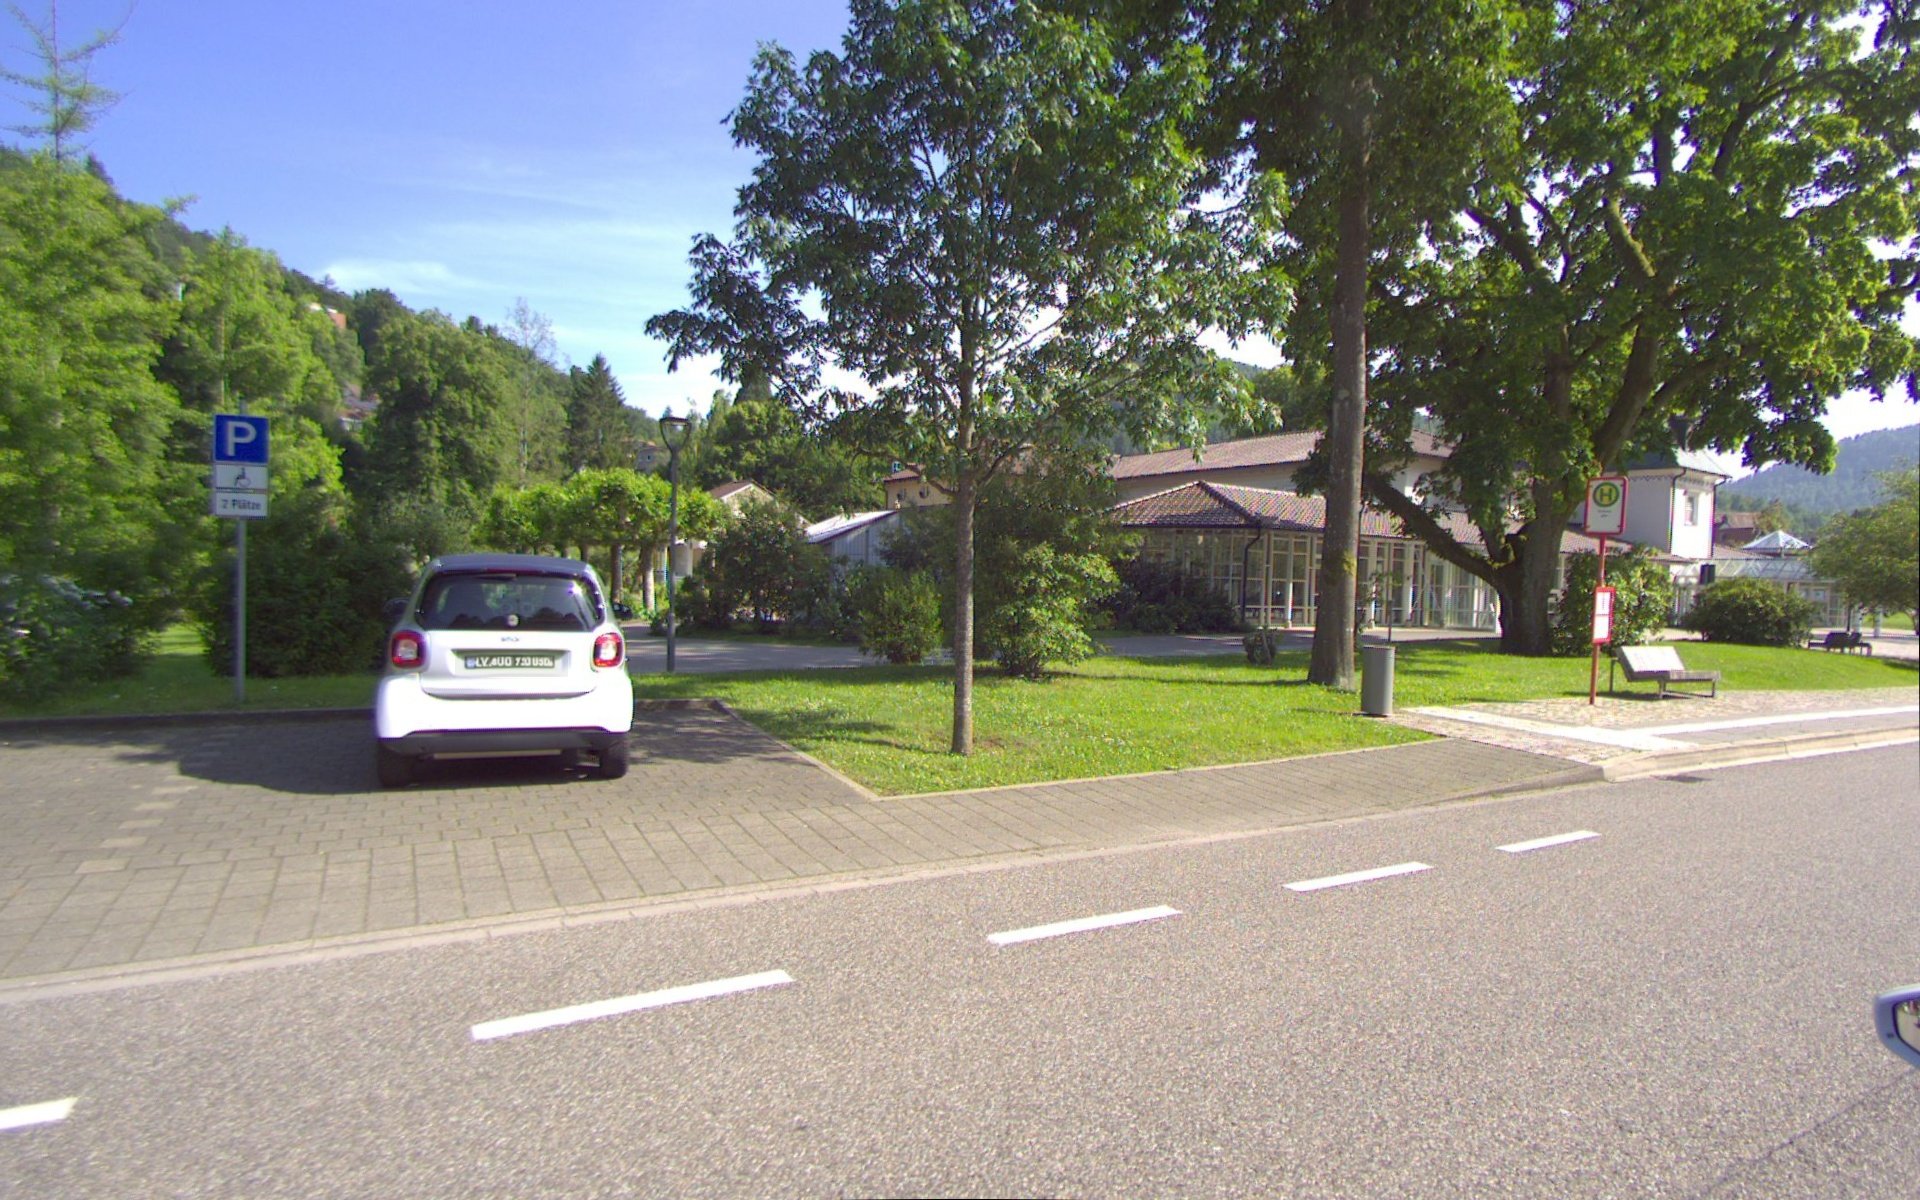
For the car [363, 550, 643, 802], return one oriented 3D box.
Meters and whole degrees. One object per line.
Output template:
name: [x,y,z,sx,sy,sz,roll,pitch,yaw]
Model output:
car: [-3.514,0.448,7.898,1.659,1.567,2.644,2,3,-23]
